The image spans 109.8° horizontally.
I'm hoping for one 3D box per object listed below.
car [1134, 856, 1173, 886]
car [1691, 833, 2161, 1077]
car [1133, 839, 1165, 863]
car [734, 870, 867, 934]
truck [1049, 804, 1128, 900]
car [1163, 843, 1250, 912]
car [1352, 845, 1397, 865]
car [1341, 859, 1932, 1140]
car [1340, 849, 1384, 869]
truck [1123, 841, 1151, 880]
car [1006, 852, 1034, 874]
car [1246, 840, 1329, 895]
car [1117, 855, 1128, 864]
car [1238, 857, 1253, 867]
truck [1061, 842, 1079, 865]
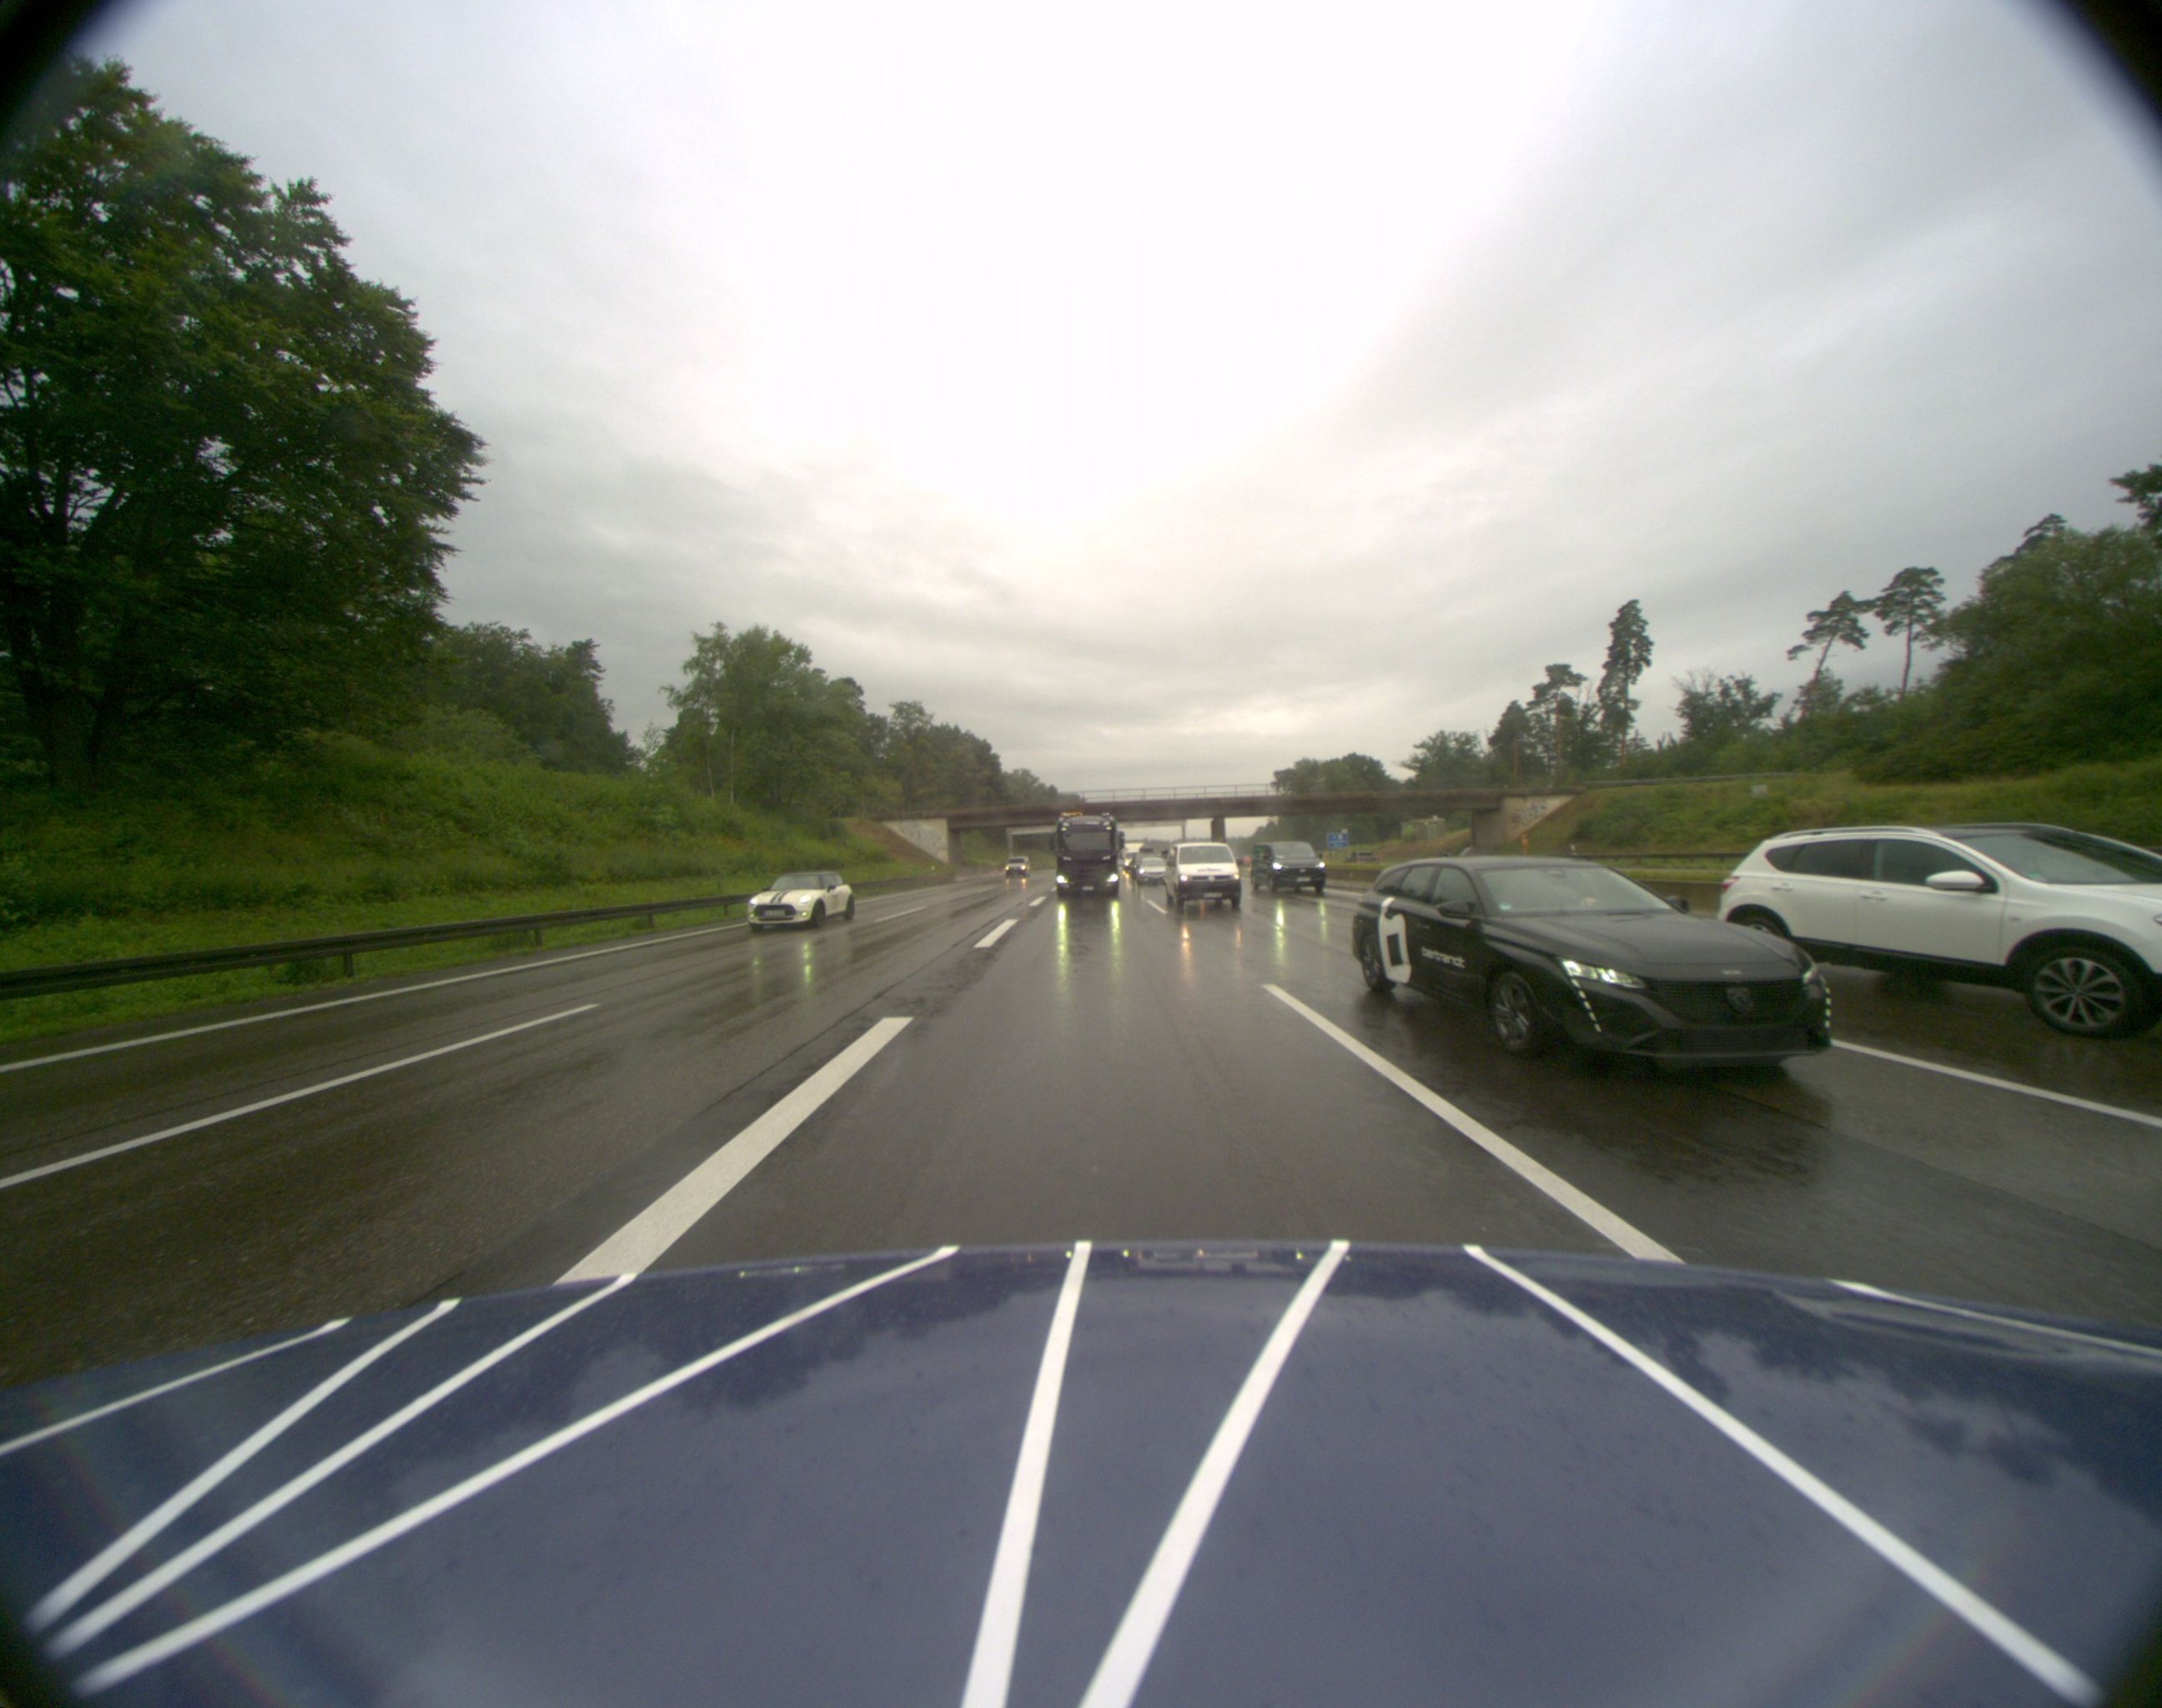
[{"bbox_3d":[4.025,0.926,42.988,1.850,1.496,4.466,-2,0,2],"label":"car"},{"bbox_3d":[8.090,0.650,6.715,1.850,1.582,4.467,-2,0,2],"label":"car"},{"bbox_3d":[4.841,-0.195,54.582,1.994,1.551,4.767,-2,0,2],"label":"car"},{"bbox_3d":[-7.303,1.191,20.254,1.795,1.399,4.228,-2,0,2],"label":"car"},{"bbox_3d":[0.478,-0.130,34.076,2.879,3.528,10.911,-2,1,2],"label":"truck"},{"bbox_3d":[3.796,0.669,23.818,1.995,1.869,4.767,-2,0,2],"label":"car"},{"bbox_3d":[20.533,0.061,53.294,1.806,1.337,3.676,-2,0,1],"label":"car"},{"bbox_3d":[3.885,0.838,6.508,1.850,1.495,4.467,-2,0,2],"label":"car"},{"bbox_3d":[20.486,0.365,55.569,1.720,1.382,3.952,-2,0,-1],"label":"car"},{"bbox_3d":[5.968,0.658,82.045,2.521,3.941,6.995,-2,0,1],"label":"truck"},{"bbox_3d":[-5.752,0.821,72.322,1.994,1.909,4.767,-2,0,2],"label":"car"},{"bbox_3d":[8.092,0.475,30.350,1.996,1.932,5.243,-2,0,2],"label":"car"},{"bbox_3d":[8.925,1.165,162.833,1.998,2.002,4.000,-2,0,0],"label":"car"},{"bbox_3d":[29.094,1.422,134.485,1.850,1.582,3.944,-2,0,2],"label":"car"},{"bbox_3d":[-1.977,-0.093,138.237,2.608,3.991,6.012,-3,1,2],"label":"truck"}]
